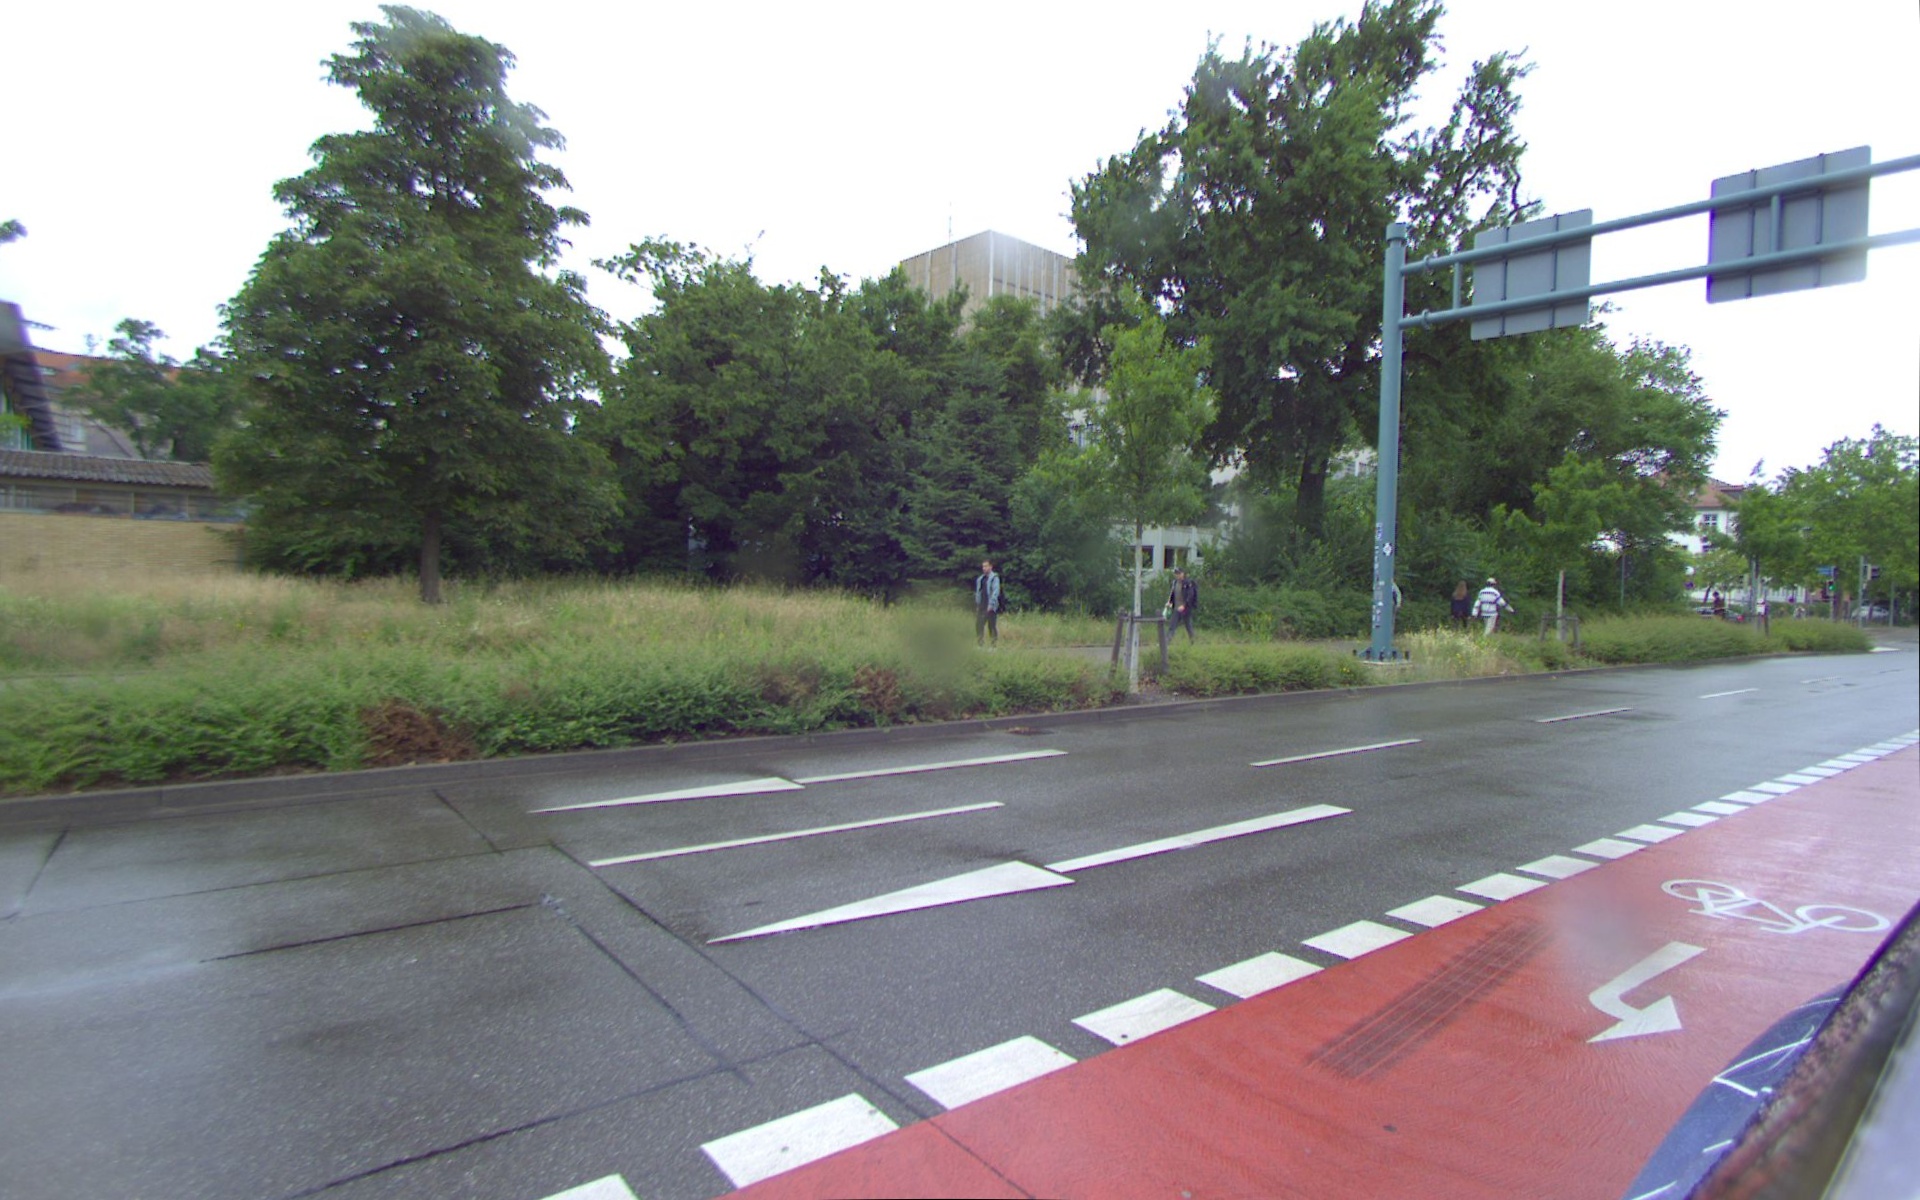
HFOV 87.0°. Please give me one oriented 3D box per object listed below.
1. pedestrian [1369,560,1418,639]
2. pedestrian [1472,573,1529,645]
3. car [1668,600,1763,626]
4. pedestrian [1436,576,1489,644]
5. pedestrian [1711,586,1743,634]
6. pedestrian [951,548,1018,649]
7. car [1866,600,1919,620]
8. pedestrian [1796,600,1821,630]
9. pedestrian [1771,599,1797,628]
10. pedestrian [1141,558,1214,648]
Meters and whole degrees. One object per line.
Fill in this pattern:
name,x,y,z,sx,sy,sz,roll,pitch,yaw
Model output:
pedestrian,11.460,-0.022,26.759,0.812,2.039,0.794,1,1,-32
pedestrian,13.666,0.223,25.595,0.812,1.743,0.936,4,-2,-34
car,46.096,0.754,61.829,1.743,1.353,4.383,-3,4,-41
pedestrian,13.178,0.262,26.554,0.812,1.726,0.936,4,-2,-34
pedestrian,30.623,0.393,40.395,0.834,1.882,0.732,1,1,-32
pedestrian,0.450,-0.042,18.777,0.812,1.819,0.937,1,1,-32
car,94.410,0.993,102.101,4.414,1.896,1.612,3,1,44
pedestrian,47.350,0.808,56.506,0.870,1.627,0.854,2,1,30
pedestrian,46.532,0.760,57.172,0.866,1.627,0.858,2,1,20
pedestrian,4.383,0.051,20.428,1.025,1.769,0.937,1,1,-32
